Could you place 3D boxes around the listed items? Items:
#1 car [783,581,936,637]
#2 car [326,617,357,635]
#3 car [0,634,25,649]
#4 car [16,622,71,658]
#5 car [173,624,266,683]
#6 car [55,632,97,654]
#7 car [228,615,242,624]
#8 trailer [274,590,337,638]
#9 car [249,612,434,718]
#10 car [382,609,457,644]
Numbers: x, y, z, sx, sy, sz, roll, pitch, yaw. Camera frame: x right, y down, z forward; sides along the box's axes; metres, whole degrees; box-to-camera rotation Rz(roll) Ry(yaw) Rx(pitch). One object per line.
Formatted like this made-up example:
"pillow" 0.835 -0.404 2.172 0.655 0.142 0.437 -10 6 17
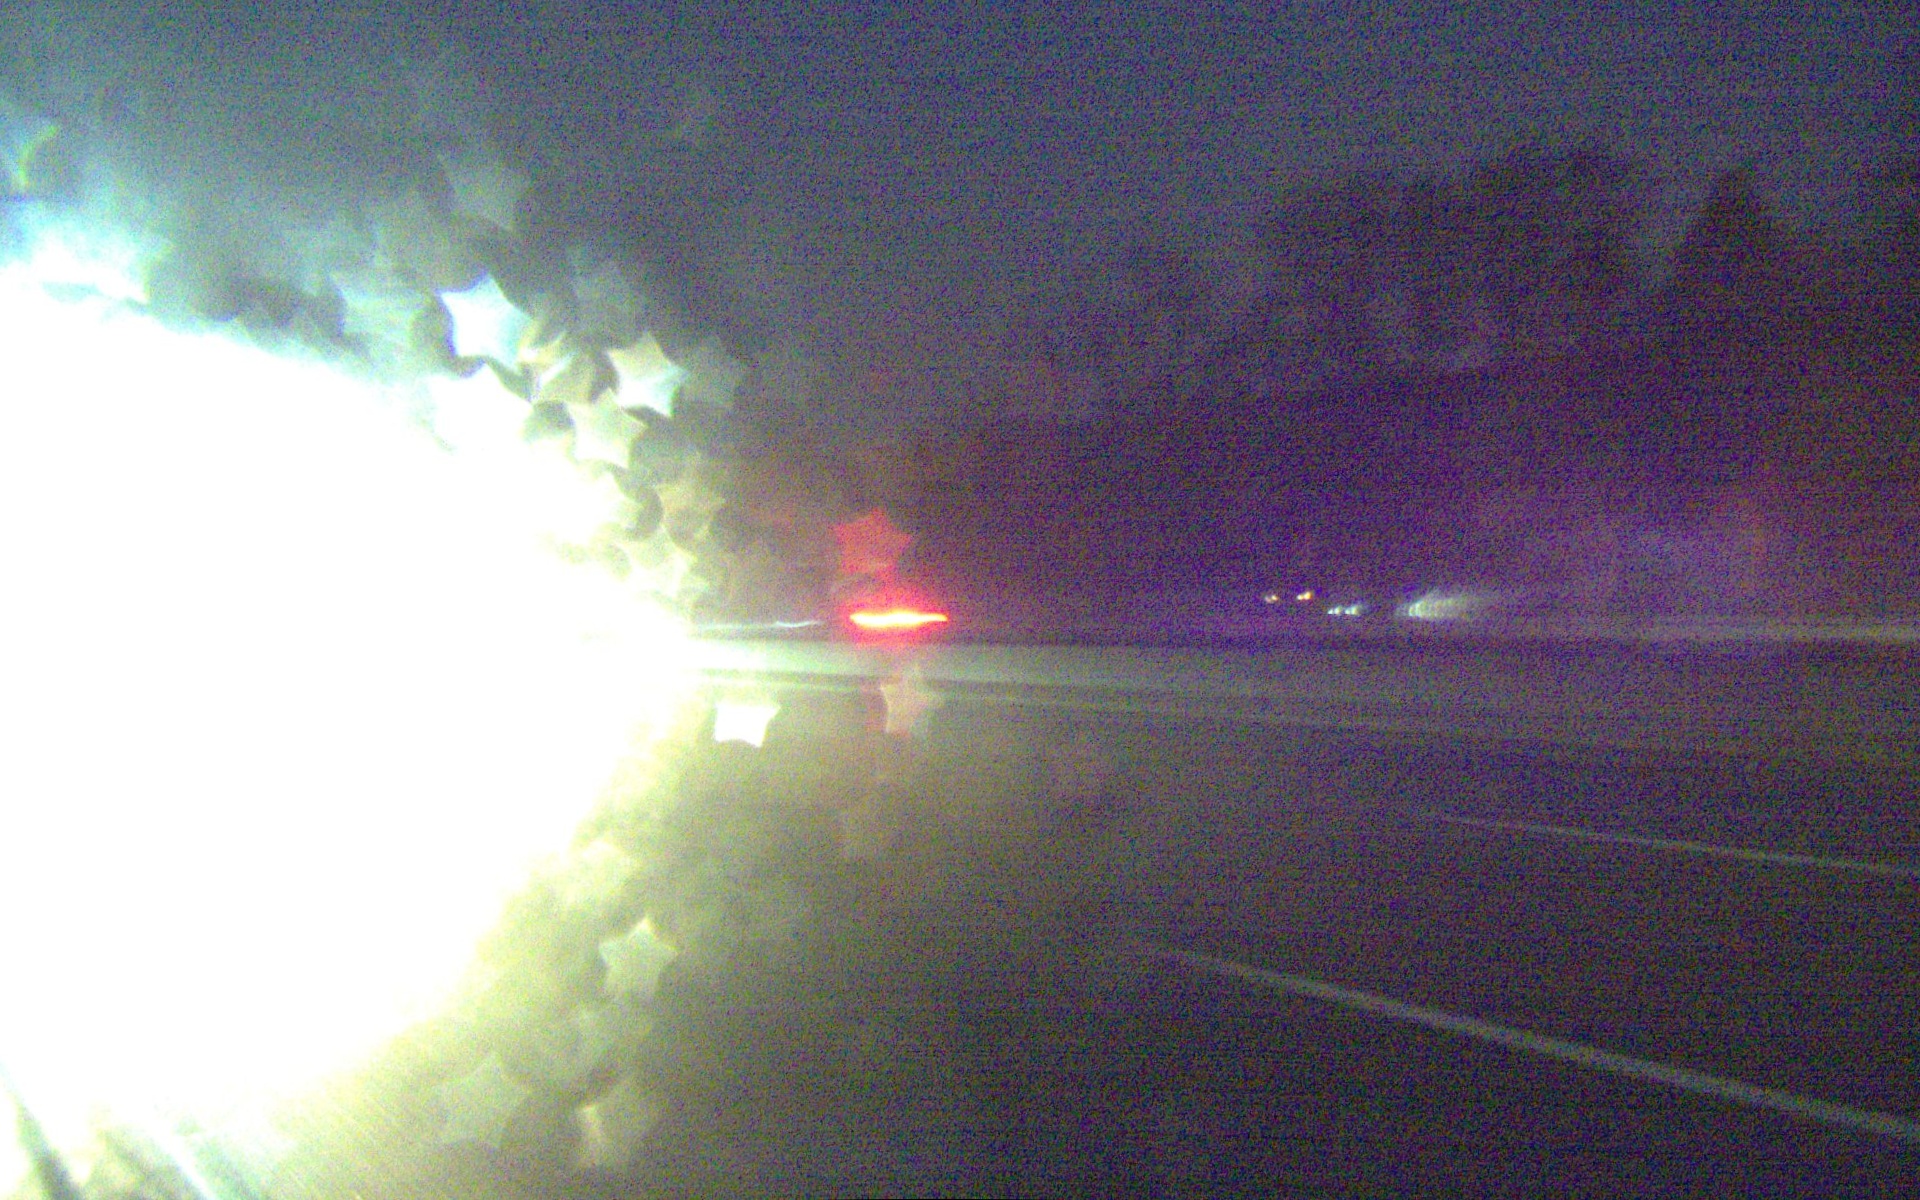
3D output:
"car" -3.326 0.302 32.707 5.018 1.608 1.973 -2 1 41
"car" -60.413 2.542 98.825 1.755 1.608 4.228 -3 2 -43
"car" -86.064 3.761 91.914 1.669 1.165 3.424 -1 0 -43
"car" -47.464 2.039 52.364 1.970 1.689 4.003 -1 0 -44
"car" -28.141 1.976 38.415 4.530 2.029 2.114 -1 0 44
"car" -71.793 3.497 82.154 3.873 1.621 2.278 -1 0 45
"car" -141.019 3.754 196.836 1.754 1.608 4.006 -4 1 -40
"trailer" -74.494 1.572 115.078 3.227 5.106 13.980 -1 0 -44
"car" -11.078 1.055 18.005 1.894 1.606 4.236 -1 0 -44
"car" -27.239 1.329 50.946 4.397 1.608 1.758 -1 2 40
